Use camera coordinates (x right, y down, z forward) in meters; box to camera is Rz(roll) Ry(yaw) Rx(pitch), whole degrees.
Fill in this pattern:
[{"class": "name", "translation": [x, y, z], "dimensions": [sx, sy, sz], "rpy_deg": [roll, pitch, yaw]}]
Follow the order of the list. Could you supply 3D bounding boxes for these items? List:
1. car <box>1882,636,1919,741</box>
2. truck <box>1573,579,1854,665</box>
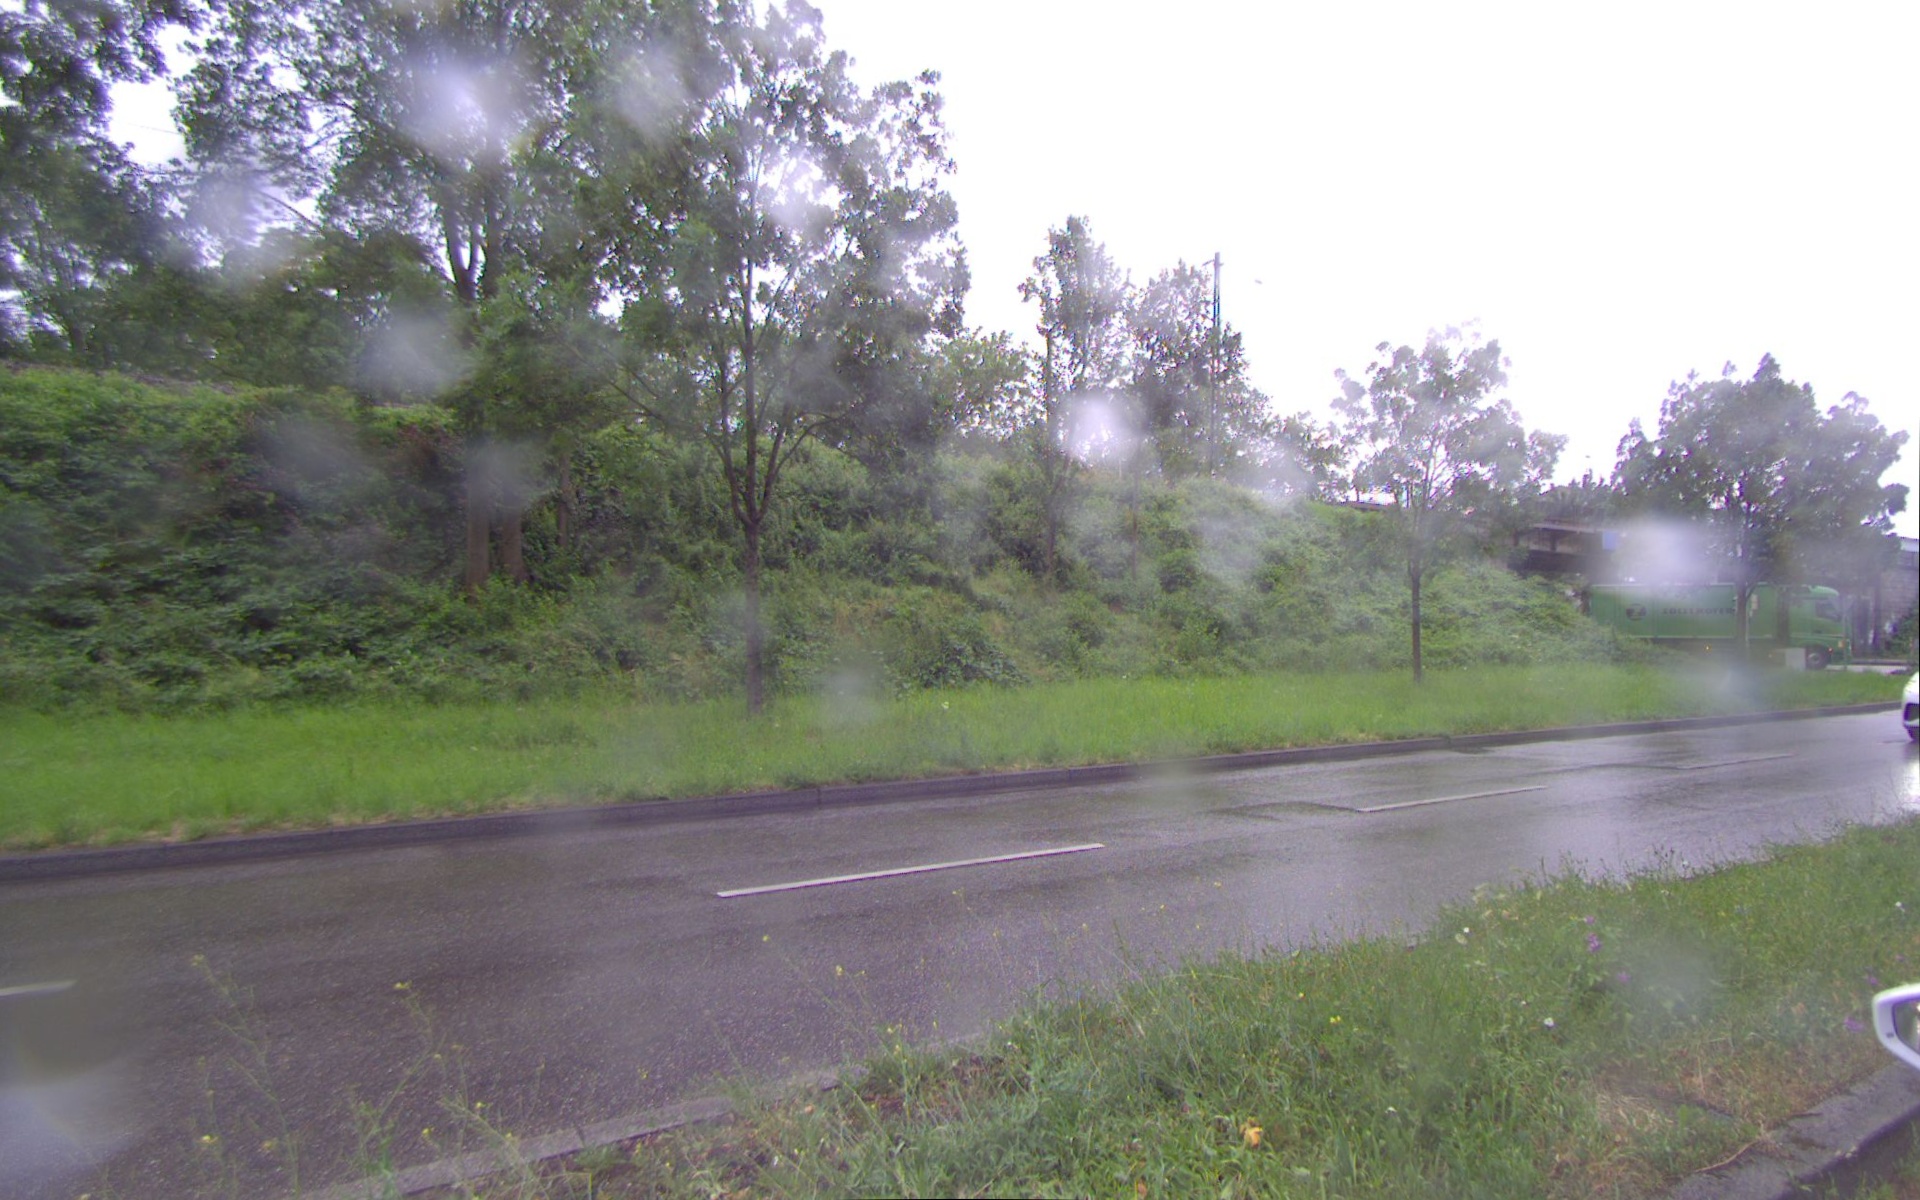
[{"class": "car", "translation": [16.429, 1.324, 15.649], "dimensions": [4.286, 1.545, 1.952], "rpy_deg": [0, -2, -32]}, {"class": "truck", "translation": [34.357, 0.938, 46.417], "dimensions": [9.947, 3.497, 2.657], "rpy_deg": [2, -1, 24]}]
